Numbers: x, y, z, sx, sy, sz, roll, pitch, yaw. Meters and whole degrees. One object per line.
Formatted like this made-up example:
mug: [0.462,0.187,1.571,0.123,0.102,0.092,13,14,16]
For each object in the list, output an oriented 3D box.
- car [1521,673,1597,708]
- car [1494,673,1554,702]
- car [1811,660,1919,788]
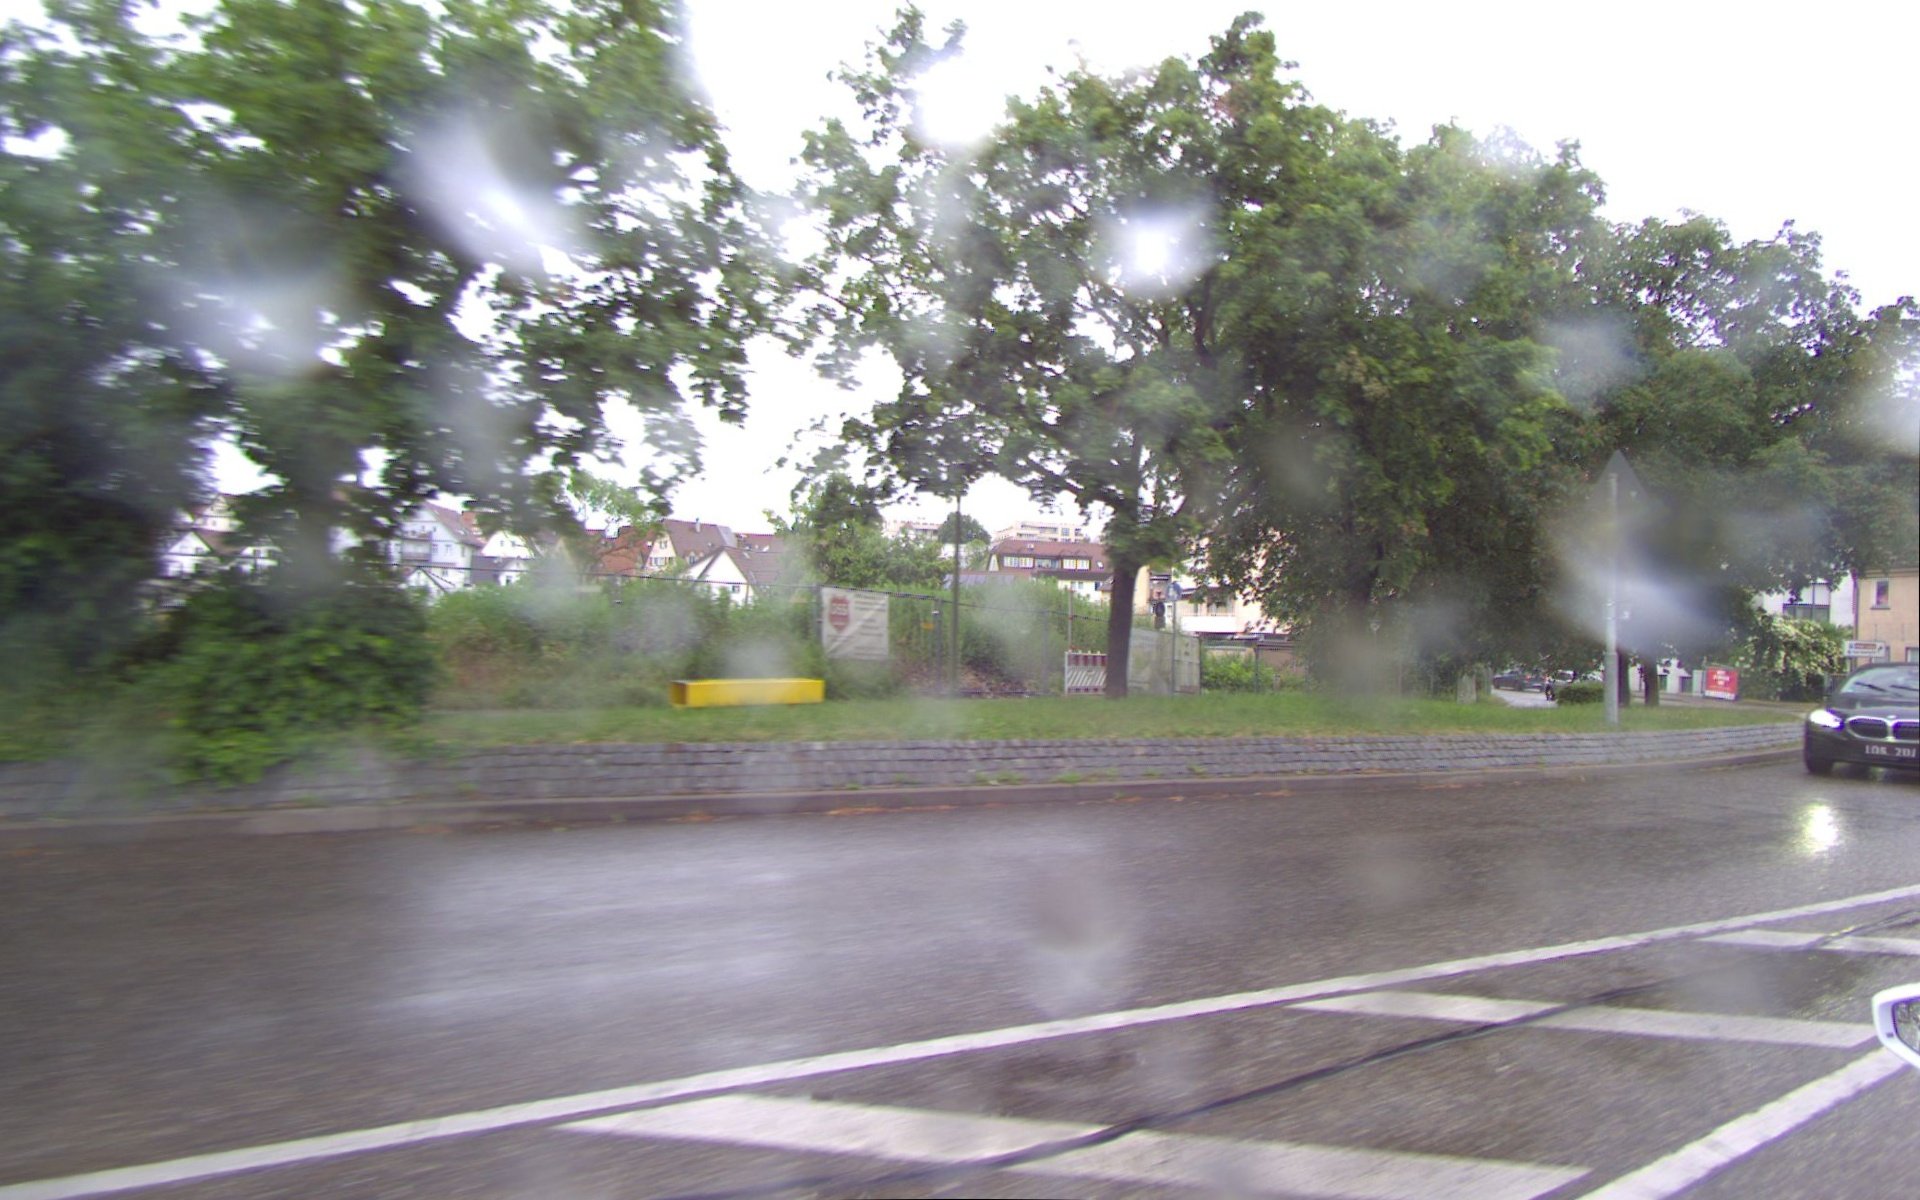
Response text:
car: [31.153,4.698,52.356,1.861,1.611,3.690,1,-2,2]
car: [35.445,5.492,63.214,1.861,1.611,3.690,1,-2,2]
car: [12.517,1.544,12.993,4.023,1.429,1.720,4,-2,-41]
